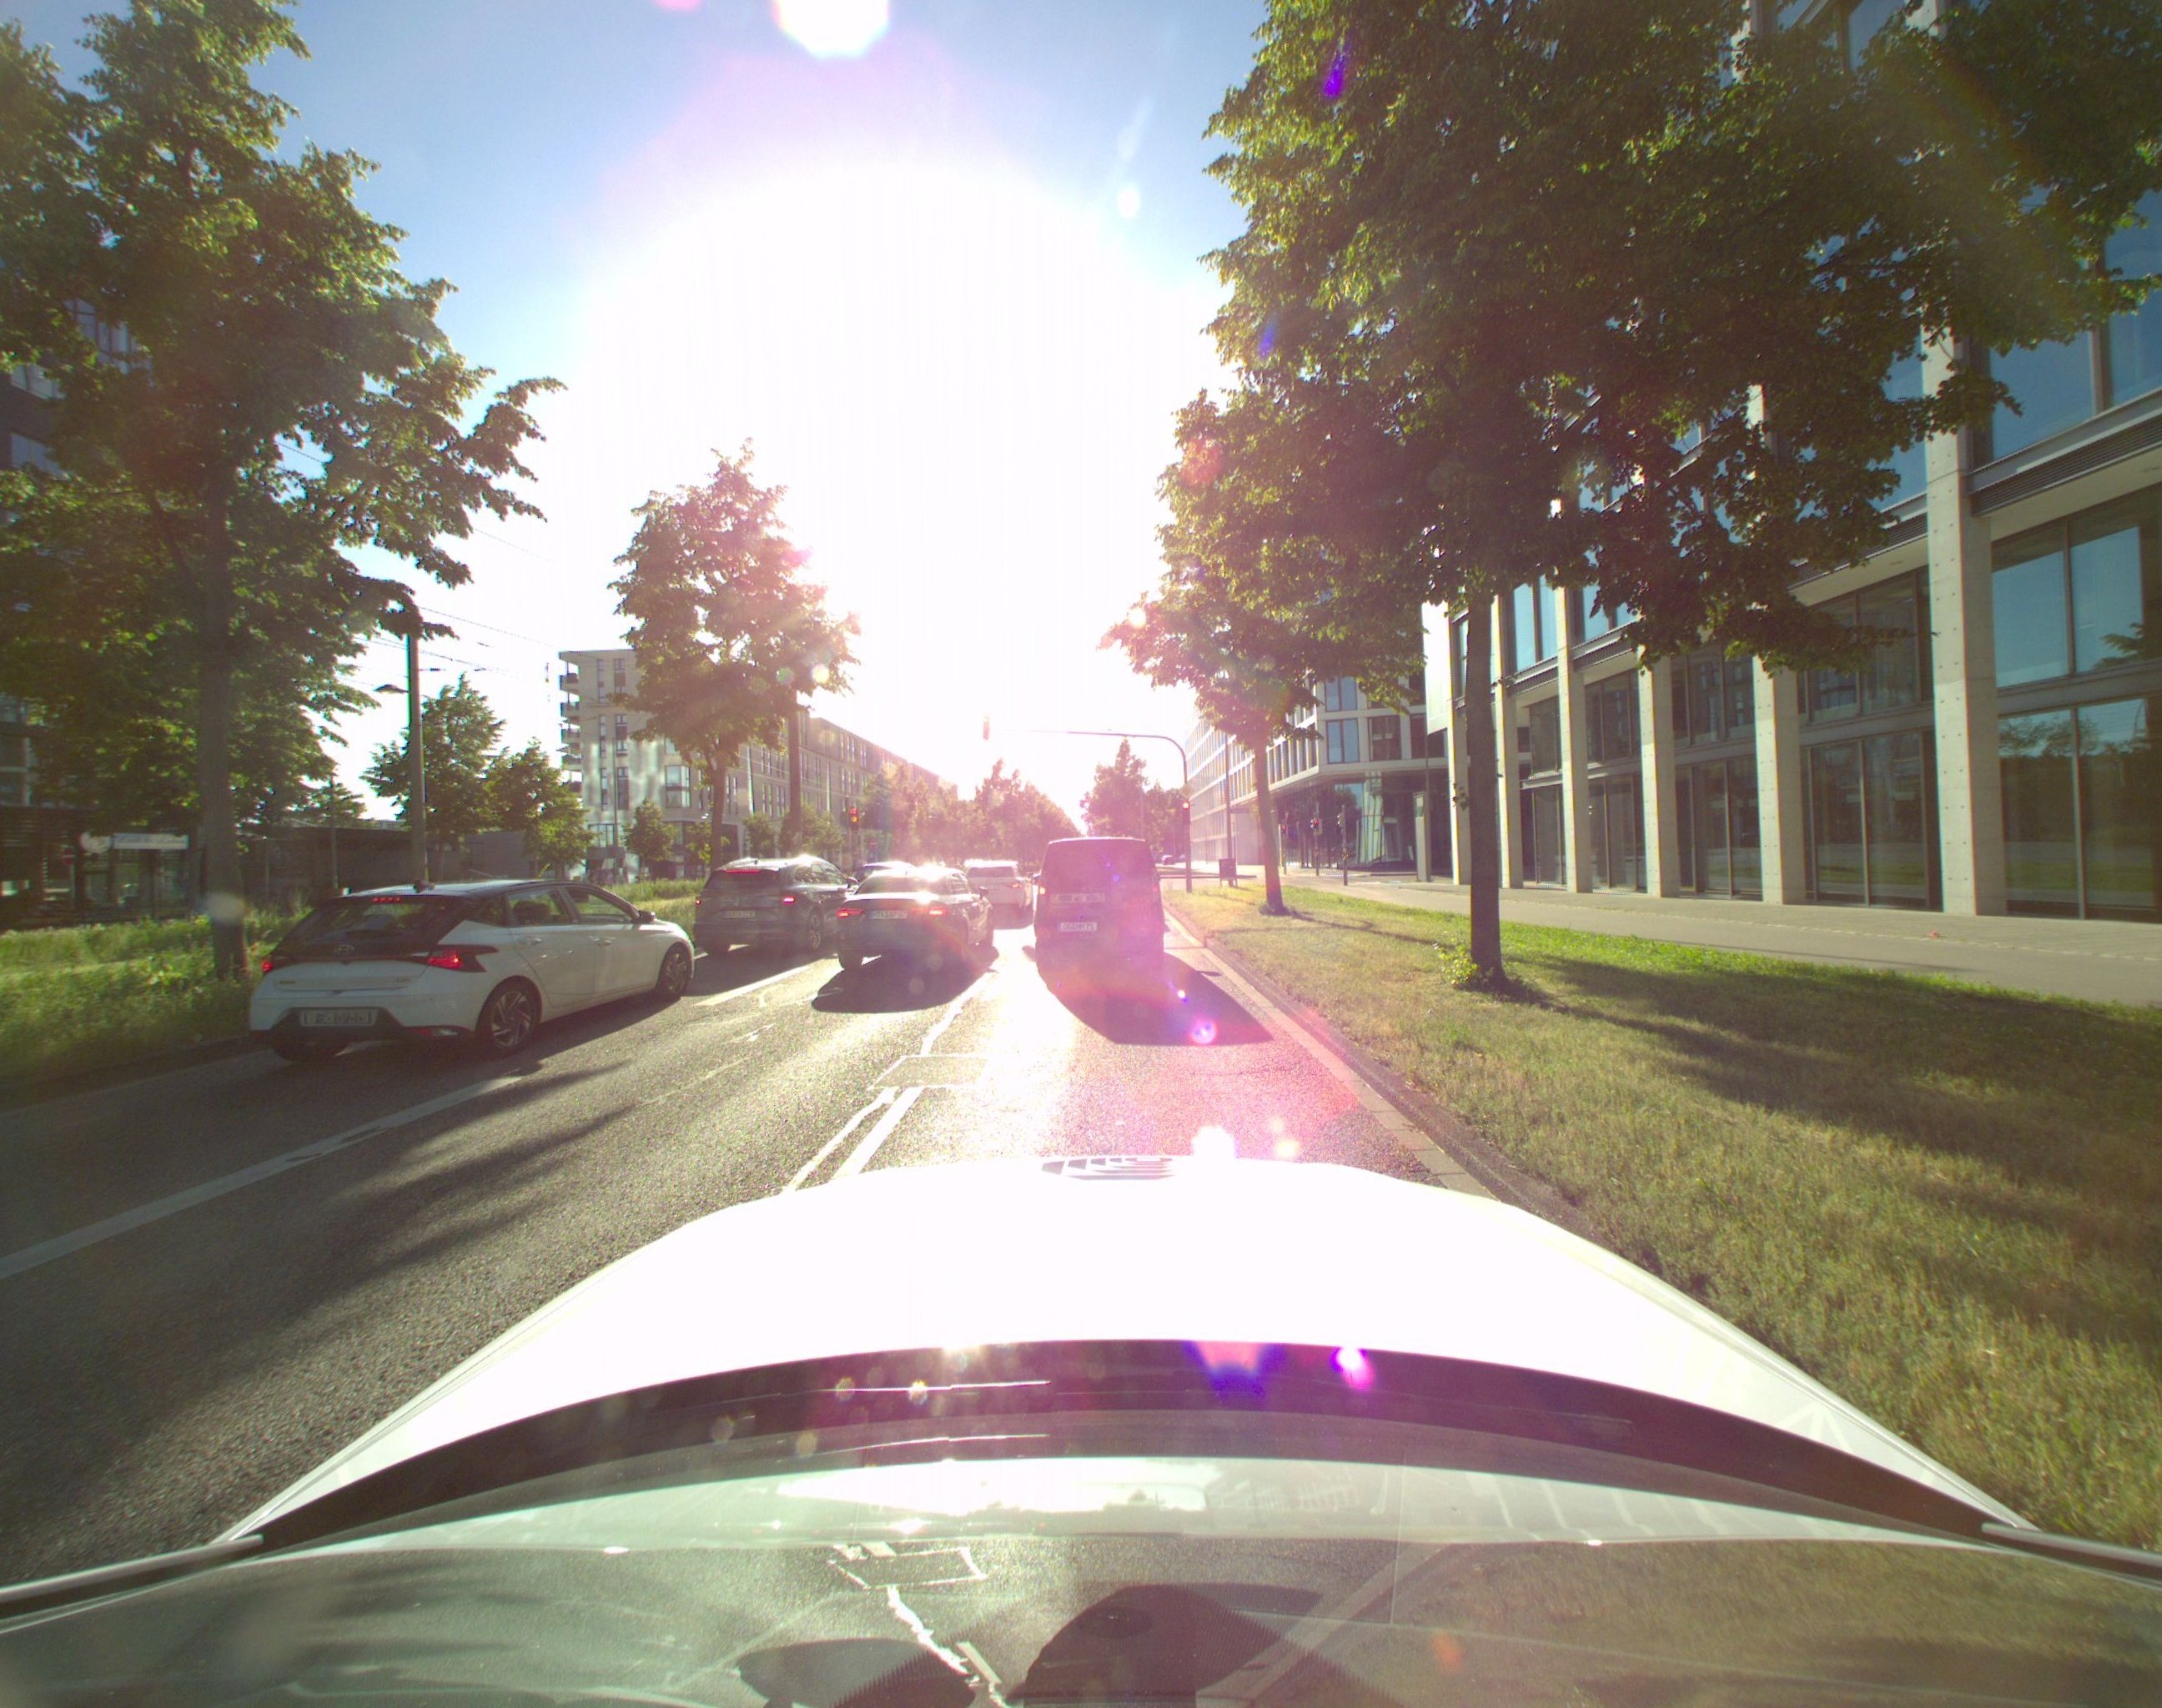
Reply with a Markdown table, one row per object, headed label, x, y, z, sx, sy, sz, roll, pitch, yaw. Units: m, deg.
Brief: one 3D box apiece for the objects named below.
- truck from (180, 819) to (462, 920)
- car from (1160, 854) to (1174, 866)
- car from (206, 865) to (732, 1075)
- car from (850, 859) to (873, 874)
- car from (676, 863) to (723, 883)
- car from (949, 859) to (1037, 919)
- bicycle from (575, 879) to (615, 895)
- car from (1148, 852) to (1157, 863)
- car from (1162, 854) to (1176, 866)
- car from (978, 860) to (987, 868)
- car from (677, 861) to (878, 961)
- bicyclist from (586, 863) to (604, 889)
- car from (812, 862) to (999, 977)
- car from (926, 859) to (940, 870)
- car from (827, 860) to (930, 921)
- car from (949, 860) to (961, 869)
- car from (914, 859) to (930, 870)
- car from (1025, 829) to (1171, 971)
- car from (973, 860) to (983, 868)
| label | x | y | z | sx | sy | sz | roll | pitch | yaw |
| --- | --- | --- | --- | --- | --- | --- | --- | --- | --- |
| truck | -33.553 | 0.628 | 36.885 | 2.880 | 3.853 | 10.217 | -2 | 0 | 2 |
| car | 14.396 | 1.004 | 137.086 | 1.986 | 1.782 | 4.001 | -2 | 0 | 2 |
| car | -5.470 | 0.881 | 8.256 | 1.793 | 1.447 | 4.569 | -2 | 0 | 1 |
| car | -30.891 | 1.691 | 114.828 | 1.986 | 2.013 | 4.001 | -2 | 0 | 2 |
| car | -30.998 | 1.505 | 66.310 | 1.758 | 1.520 | 4.001 | -2 | 0 | 2 |
| car | -2.275 | 0.862 | 21.973 | 1.797 | 1.426 | 3.902 | -1 | 0 | 2 |
| bicycle | -40.899 | 2.781 | 68.524 | 2.930 | 1.190 | 0.818 | -2 | 0 | 2 |
| car | 17.774 | 0.870 | 202.473 | 1.986 | 2.497 | 4.988 | -2 | 0 | 2 |
| car | 14.290 | 0.952 | 132.076 | 1.986 | 1.782 | 4.001 | -2 | 0 | 2 |
| car | -27.581 | 2.803 | 228.041 | 1.986 | 2.013 | 4.001 | -2 | 0 | 2 |
| car | -5.283 | 0.903 | 14.936 | 1.792 | 1.447 | 4.570 | -3 | 0 | 1 |
| bicyclist | -40.932 | 1.833 | 68.544 | 0.936 | 2.092 | 0.818 | -2 | -1 | 2 |
| car | -2.491 | 0.868 | 12.713 | 1.835 | 1.426 | 4.340 | -1 | 0 | 2 |
| car | -29.760 | 2.120 | 163.612 | 1.986 | 2.013 | 4.001 | -2 | 0 | 2 |
| car | -5.592 | 0.946 | 23.091 | 1.794 | 1.483 | 4.566 | 2 | 0 | -1 |
| car | -28.993 | 2.374 | 187.594 | 1.986 | 2.013 | 4.001 | -2 | 0 | 2 |
| car | -30.162 | 2.023 | 154.516 | 1.986 | 2.013 | 4.001 | -2 | 0 | 2 |
| car | 0.281 | 0.599 | 12.470 | 1.835 | 1.780 | 4.001 | -1 | 0 | 2 |
| car | -28.032 | 2.740 | 222.424 | 1.986 | 2.013 | 4.001 | -2 | 0 | 2 |
